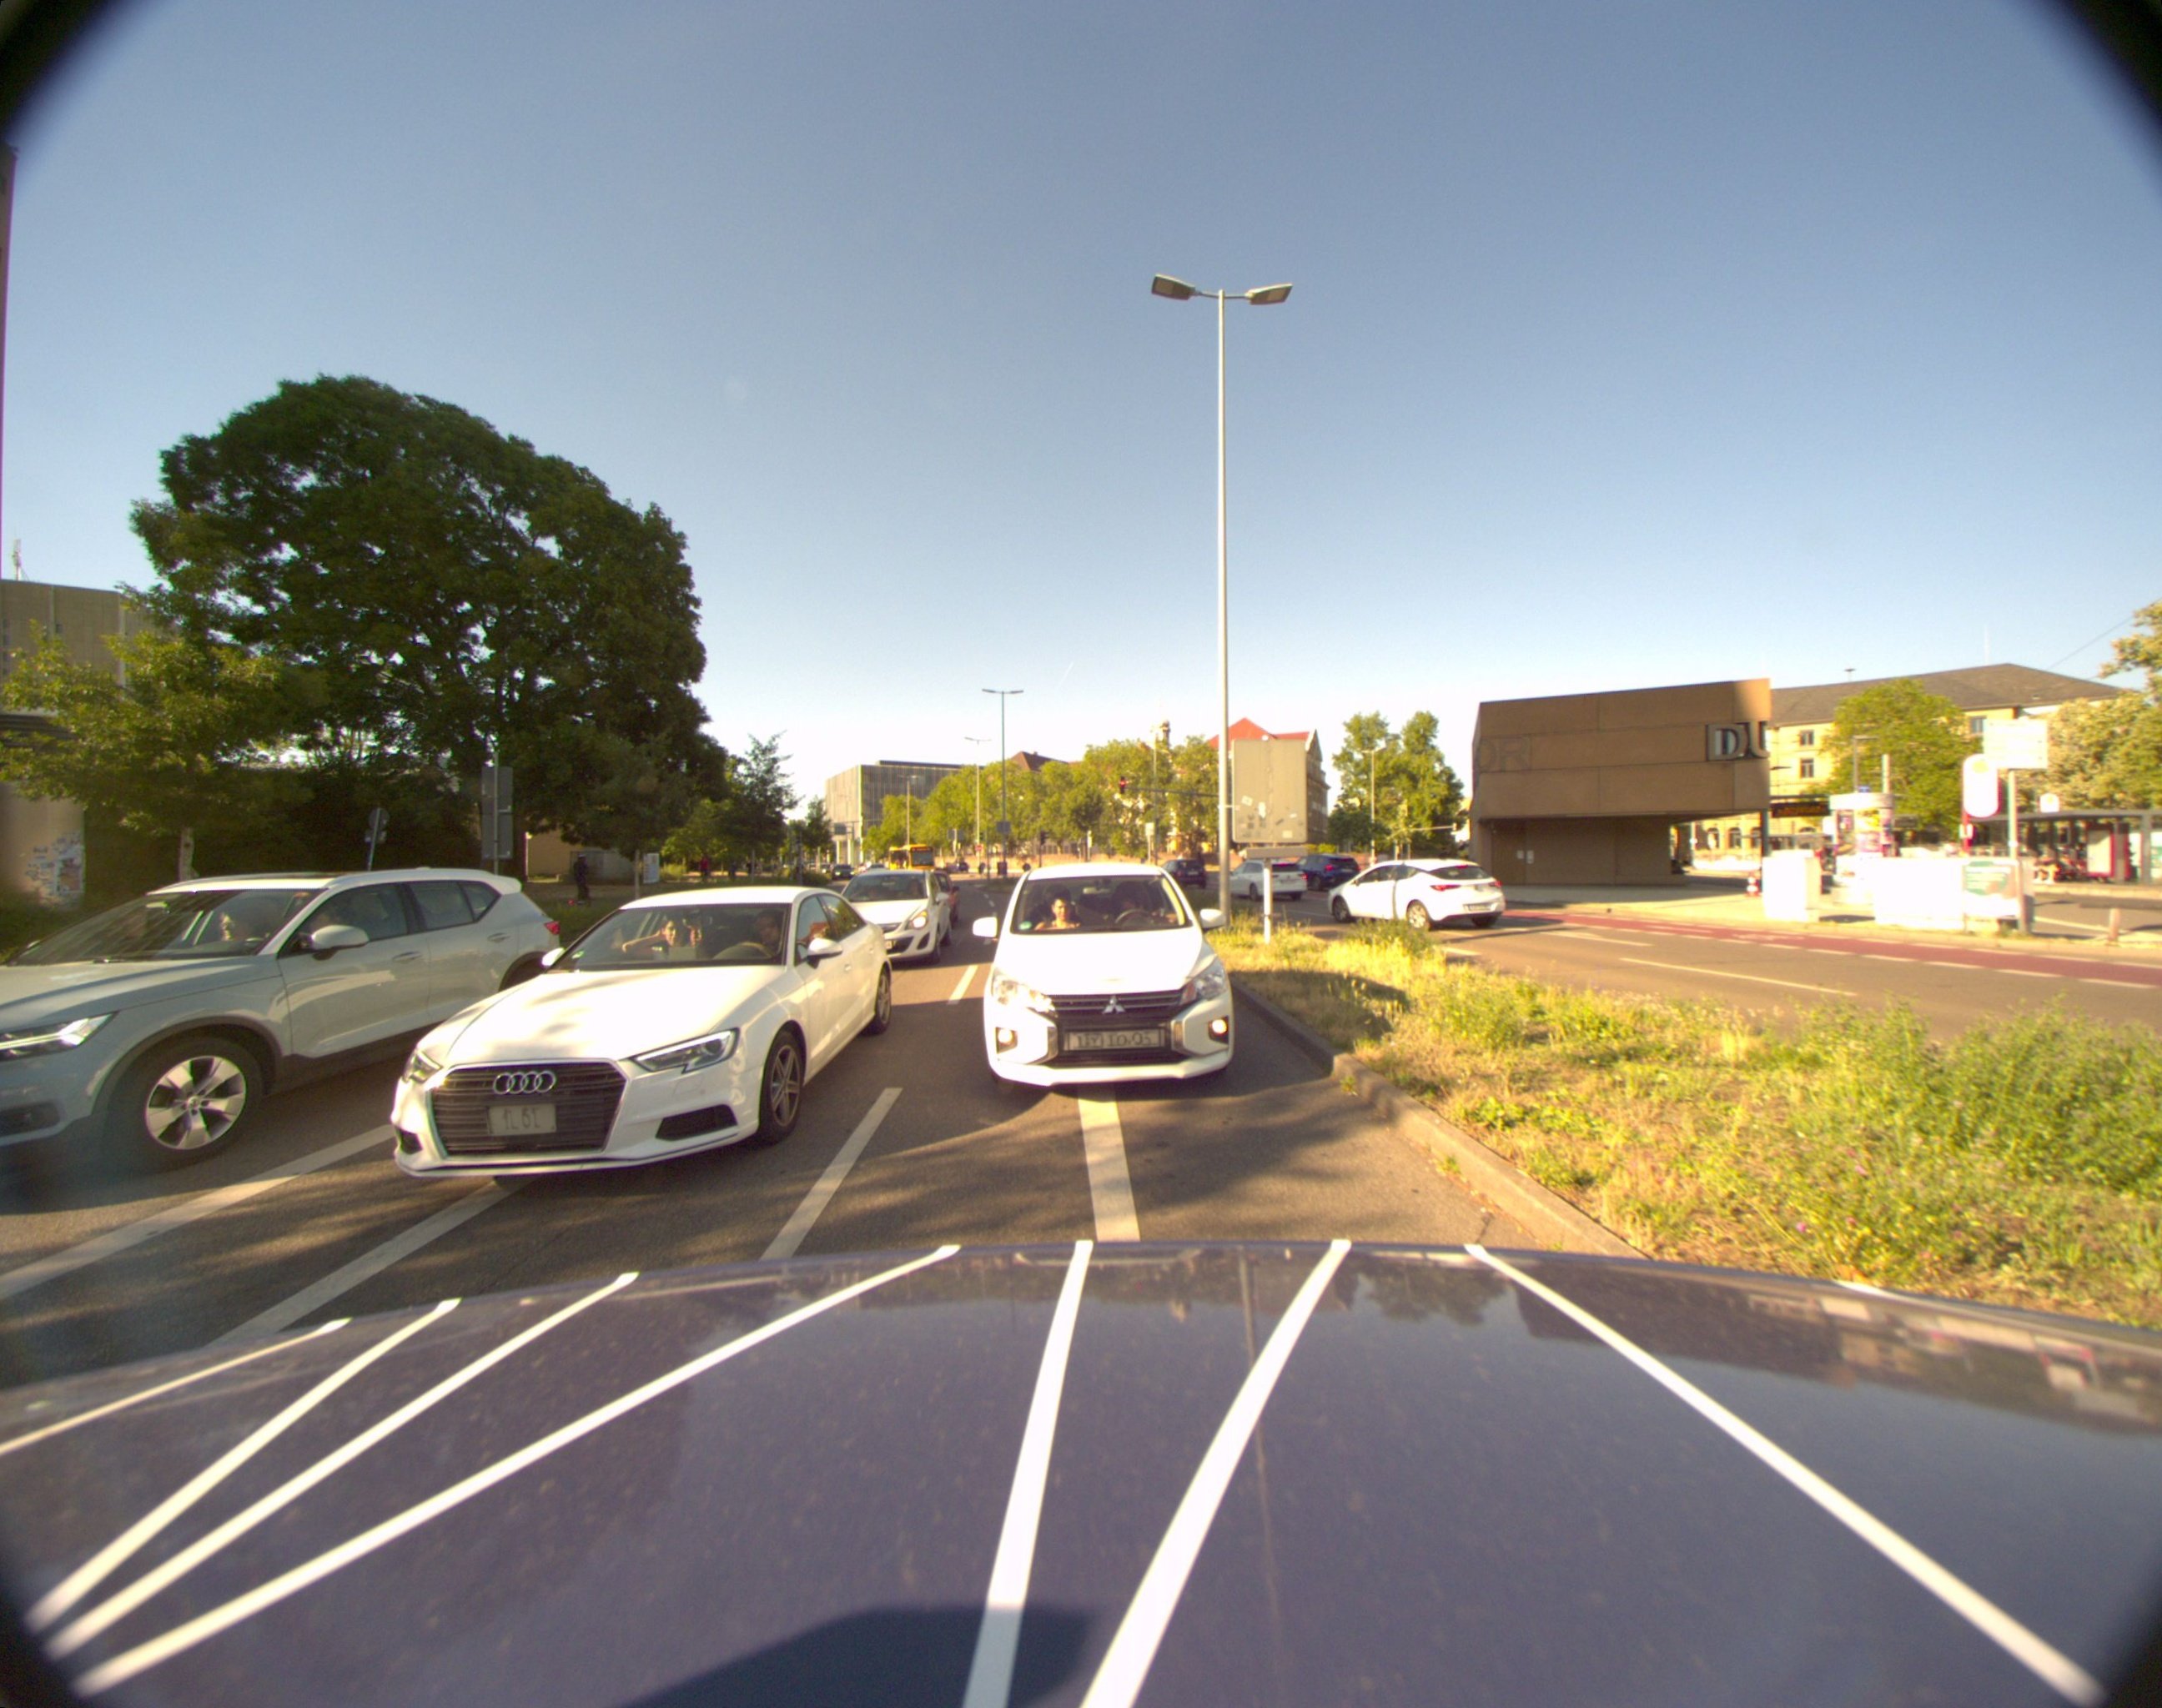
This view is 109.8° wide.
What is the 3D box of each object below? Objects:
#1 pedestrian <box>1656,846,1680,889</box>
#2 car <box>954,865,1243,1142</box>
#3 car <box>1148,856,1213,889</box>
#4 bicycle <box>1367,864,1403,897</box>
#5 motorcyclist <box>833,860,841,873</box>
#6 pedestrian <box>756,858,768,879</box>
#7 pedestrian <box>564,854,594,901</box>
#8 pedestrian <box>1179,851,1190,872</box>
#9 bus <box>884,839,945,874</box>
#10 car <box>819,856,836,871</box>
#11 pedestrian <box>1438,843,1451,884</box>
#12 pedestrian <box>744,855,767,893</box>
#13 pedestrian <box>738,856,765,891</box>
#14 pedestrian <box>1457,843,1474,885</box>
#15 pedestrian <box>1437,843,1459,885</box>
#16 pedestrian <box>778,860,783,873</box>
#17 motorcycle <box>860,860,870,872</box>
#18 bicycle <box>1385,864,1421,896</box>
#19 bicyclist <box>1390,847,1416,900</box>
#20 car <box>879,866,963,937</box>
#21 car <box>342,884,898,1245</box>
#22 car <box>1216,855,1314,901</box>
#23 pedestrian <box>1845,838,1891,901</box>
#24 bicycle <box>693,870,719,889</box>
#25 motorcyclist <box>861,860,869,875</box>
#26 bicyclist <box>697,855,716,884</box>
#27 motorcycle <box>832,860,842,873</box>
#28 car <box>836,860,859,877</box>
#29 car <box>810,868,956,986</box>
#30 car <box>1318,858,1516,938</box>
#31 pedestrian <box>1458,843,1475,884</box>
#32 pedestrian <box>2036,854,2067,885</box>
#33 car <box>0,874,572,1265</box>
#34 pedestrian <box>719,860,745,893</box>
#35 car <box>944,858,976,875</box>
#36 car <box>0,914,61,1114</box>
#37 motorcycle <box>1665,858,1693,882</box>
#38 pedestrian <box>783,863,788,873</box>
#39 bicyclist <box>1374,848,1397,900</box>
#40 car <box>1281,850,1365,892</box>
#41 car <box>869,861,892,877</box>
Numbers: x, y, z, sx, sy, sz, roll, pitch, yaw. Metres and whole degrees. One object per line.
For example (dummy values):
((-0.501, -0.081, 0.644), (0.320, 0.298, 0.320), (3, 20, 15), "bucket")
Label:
((27.924, 0.637, 36.144), (0.780, 2.002, 0.771), (-3, 2, -42), "pedestrian")
((0.052, 0.894, 6.435), (1.628, 1.451, 4.040), (-2, 1, -2), "car")
((4.813, 0.869, 37.342), (1.757, 1.451, 4.184), (-2, 1, -13), "car")
((11.781, 1.009, 29.478), (0.464, 1.185, 1.395), (-3, 1, -17), "bicycle")
((-26.436, 1.338, 82.336), (0.719, 1.297, 0.734), (-3, 1, -22), "motorcyclist")
((-30.510, 1.380, 72.754), (0.852, 2.002, 0.833), (-3, 1, -15), "pedestrian")
((-17.423, 0.791, 26.369), (0.596, 1.585, 0.594), (-2, 1, -8), "pedestrian")
((9.374, 0.699, 68.723), (0.797, 1.886, 0.612), (0, 1, 40), "pedestrian")
((-17.220, 0.293, 77.687), (3.091, 3.193, 12.518), (-3, 1, -26), "bus")
((-29.491, 1.121, 88.336), (1.748, 1.696, 3.993), (-1, 0, -21), "car")
((18.411, 0.472, 38.478), (0.467, 2.002, 0.657), (-2, 1, 17), "pedestrian")
((-17.768, 1.093, 41.445), (0.895, 2.002, 0.881), (-2, 1, -10), "pedestrian")
((-19.558, 1.121, 45.138), (1.143, 2.002, 1.285), (-2, 1, -10), "pedestrian")
((18.802, 0.472, 37.138), (0.655, 2.002, 0.469), (-2, 1, 20), "pedestrian")
((18.017, 0.500, 37.361), (0.777, 2.002, 0.773), (-2, 1, 13), "pedestrian")
((-39.892, 1.674, 100.894), (0.399, 1.676, 0.483), (-1, 1, 1), "pedestrian")
((-23.567, 1.290, 82.866), (0.719, 1.297, 2.230), (-3, 1, -23), "motorcycle")
((12.476, 0.983, 29.463), (0.464, 1.185, 1.395), (-3, 1, -17), "bicycle")
((12.466, 0.744, 29.424), (0.611, 2.002, 0.708), (-1, 1, -15), "bicyclist")
((-3.902, 1.098, 19.099), (1.628, 1.451, 4.039), (-2, 1, -7), "car")
((-2.557, 1.037, 5.392), (1.628, 1.396, 3.832), (-2, 1, -2), "car")
((6.667, 0.808, 28.017), (1.850, 1.483, 4.388), (-2, 1, -10), "car")
((22.468, 0.438, 21.697), (0.713, 1.748, 0.583), (-2, 1, 20), "pedestrian")
((-20.840, 1.381, 42.253), (0.660, 0.958, 2.033), (0, 1, -7), "bicycle")
((-23.507, 1.463, 82.789), (0.712, 1.581, 0.689), (-3, 1, -22), "motorcyclist")
((-20.842, 0.857, 42.294), (0.617, 1.551, 0.870), (-2, 1, -8), "bicyclist")
((-26.484, 1.337, 82.473), (0.719, 1.297, 2.230), (-3, 1, -24), "motorcycle")
((-22.128, 1.383, 71.812), (1.758, 1.451, 4.181), (-3, 1, -21), "car")
((-3.078, 1.050, 12.581), (1.628, 1.451, 4.039), (-2, 1, -5), "car")
((7.223, 0.859, 16.850), (1.757, 1.451, 4.183), (-2, 1, -15), "car")
((19.076, 0.456, 37.635), (0.655, 2.002, 0.469), (-2, 1, 20), "pedestrian")
((38.922, 0.614, 30.483), (0.539, 1.180, 0.659), (-2, 1, 29), "pedestrian")
((-5.754, 1.054, 5.259), (1.628, 1.611, 4.223), (-2, 1, -2), "car")
((-18.678, 1.209, 40.663), (1.010, 1.711, 0.884), (-2, 1, -10), "pedestrian")
((-15.336, 1.592, 96.170), (2.004, 2.002, 3.989), (-3, 1, -43), "car")
((-8.762, 1.242, 3.884), (1.628, 1.451, 4.040), (-2, 1, -2), "car")
((26.188, 0.707, 33.269), (0.948, 1.061, 0.331), (-1, 1, 39), "motorcycle")
((-39.912, 1.877, 102.631), (0.439, 1.231, 0.495), (-1, 1, 1), "pedestrian")
((11.746, 0.757, 29.301), (0.611, 2.002, 0.565), (-1, 1, -15), "bicyclist")
((10.492, 0.684, 33.296), (1.757, 1.680, 4.185), (-1, 0, -10), "car")
((-19.416, 1.417, 73.493), (1.758, 1.451, 4.182), (-3, 1, -19), "car")
